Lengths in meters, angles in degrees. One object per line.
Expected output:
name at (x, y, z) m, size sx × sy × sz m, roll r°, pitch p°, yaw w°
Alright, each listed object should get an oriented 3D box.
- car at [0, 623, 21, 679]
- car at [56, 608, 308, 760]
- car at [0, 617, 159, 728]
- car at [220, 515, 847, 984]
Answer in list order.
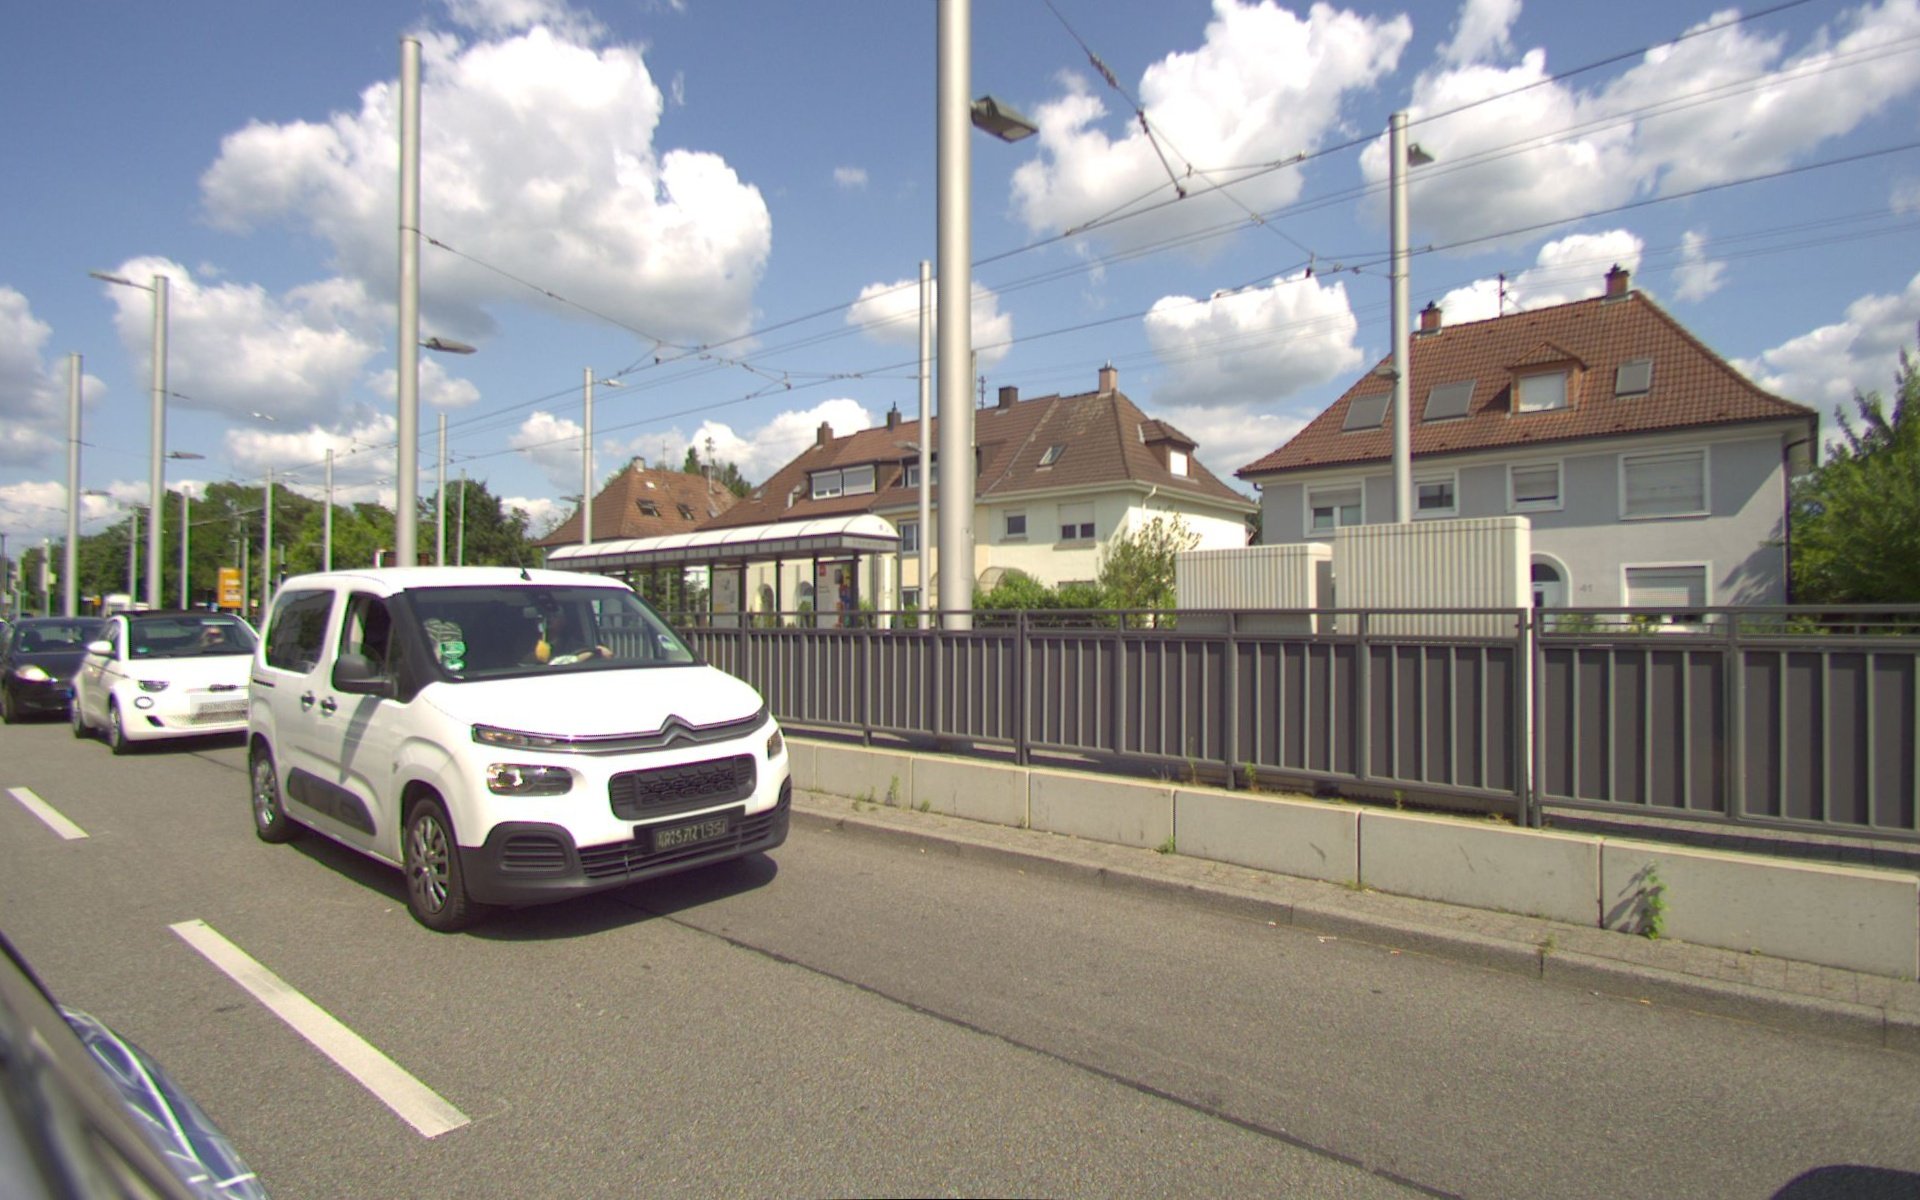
car at (-25.951, 1.310, 26.419) m, size 4.497 × 1.368 × 1.676 m, roll -1°, pitch 0°, yaw 41°
car at (-9.258, 0.885, 11.969) m, size 3.390 × 1.515 × 1.659 m, roll -1°, pitch 0°, yaw 40°
car at (-13.509, 0.983, 15.174) m, size 3.556 × 1.433 × 1.659 m, roll -1°, pitch 0°, yaw 40°
car at (-2.796, 0.595, 6.064) m, size 4.328 × 1.829 × 1.776 m, roll -1°, pitch 0°, yaw 42°
